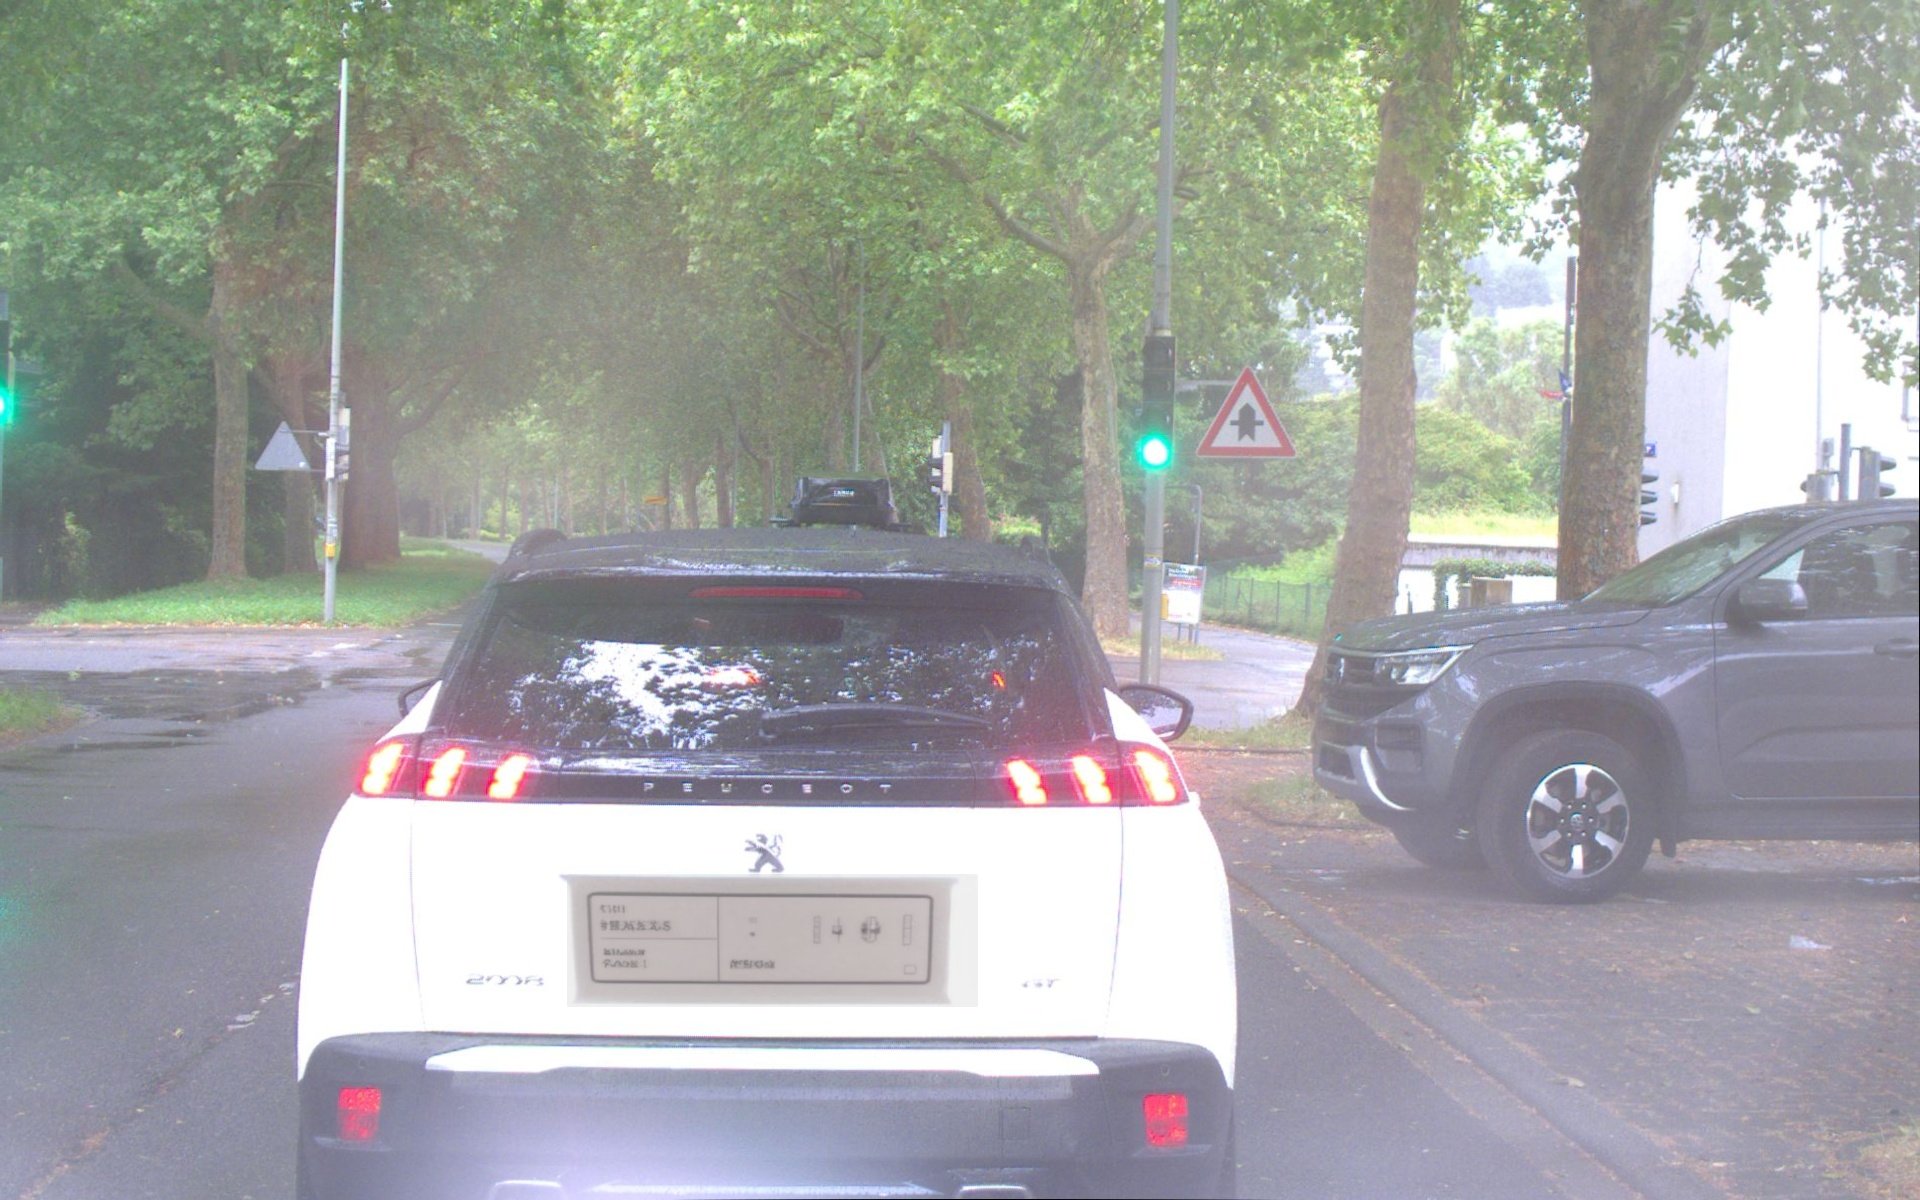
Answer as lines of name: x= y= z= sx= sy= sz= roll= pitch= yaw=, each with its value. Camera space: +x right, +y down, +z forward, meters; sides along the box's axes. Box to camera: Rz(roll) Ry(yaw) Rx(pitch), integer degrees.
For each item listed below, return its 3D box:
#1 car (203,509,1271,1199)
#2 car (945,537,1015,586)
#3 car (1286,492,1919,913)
car: x=-0.416 y=0.586 z=7.835 sx=1.780 sy=1.531 sz=4.058 roll=1 pitch=1 yaw=-1
car: x=0.628 y=-1.261 z=111.678 sx=1.905 sy=1.504 sz=3.932 roll=2 pitch=1 yaw=-5
car: x=4.343 y=0.449 z=15.957 sx=5.337 sy=1.800 sz=1.846 roll=1 pitch=1 yaw=-7
